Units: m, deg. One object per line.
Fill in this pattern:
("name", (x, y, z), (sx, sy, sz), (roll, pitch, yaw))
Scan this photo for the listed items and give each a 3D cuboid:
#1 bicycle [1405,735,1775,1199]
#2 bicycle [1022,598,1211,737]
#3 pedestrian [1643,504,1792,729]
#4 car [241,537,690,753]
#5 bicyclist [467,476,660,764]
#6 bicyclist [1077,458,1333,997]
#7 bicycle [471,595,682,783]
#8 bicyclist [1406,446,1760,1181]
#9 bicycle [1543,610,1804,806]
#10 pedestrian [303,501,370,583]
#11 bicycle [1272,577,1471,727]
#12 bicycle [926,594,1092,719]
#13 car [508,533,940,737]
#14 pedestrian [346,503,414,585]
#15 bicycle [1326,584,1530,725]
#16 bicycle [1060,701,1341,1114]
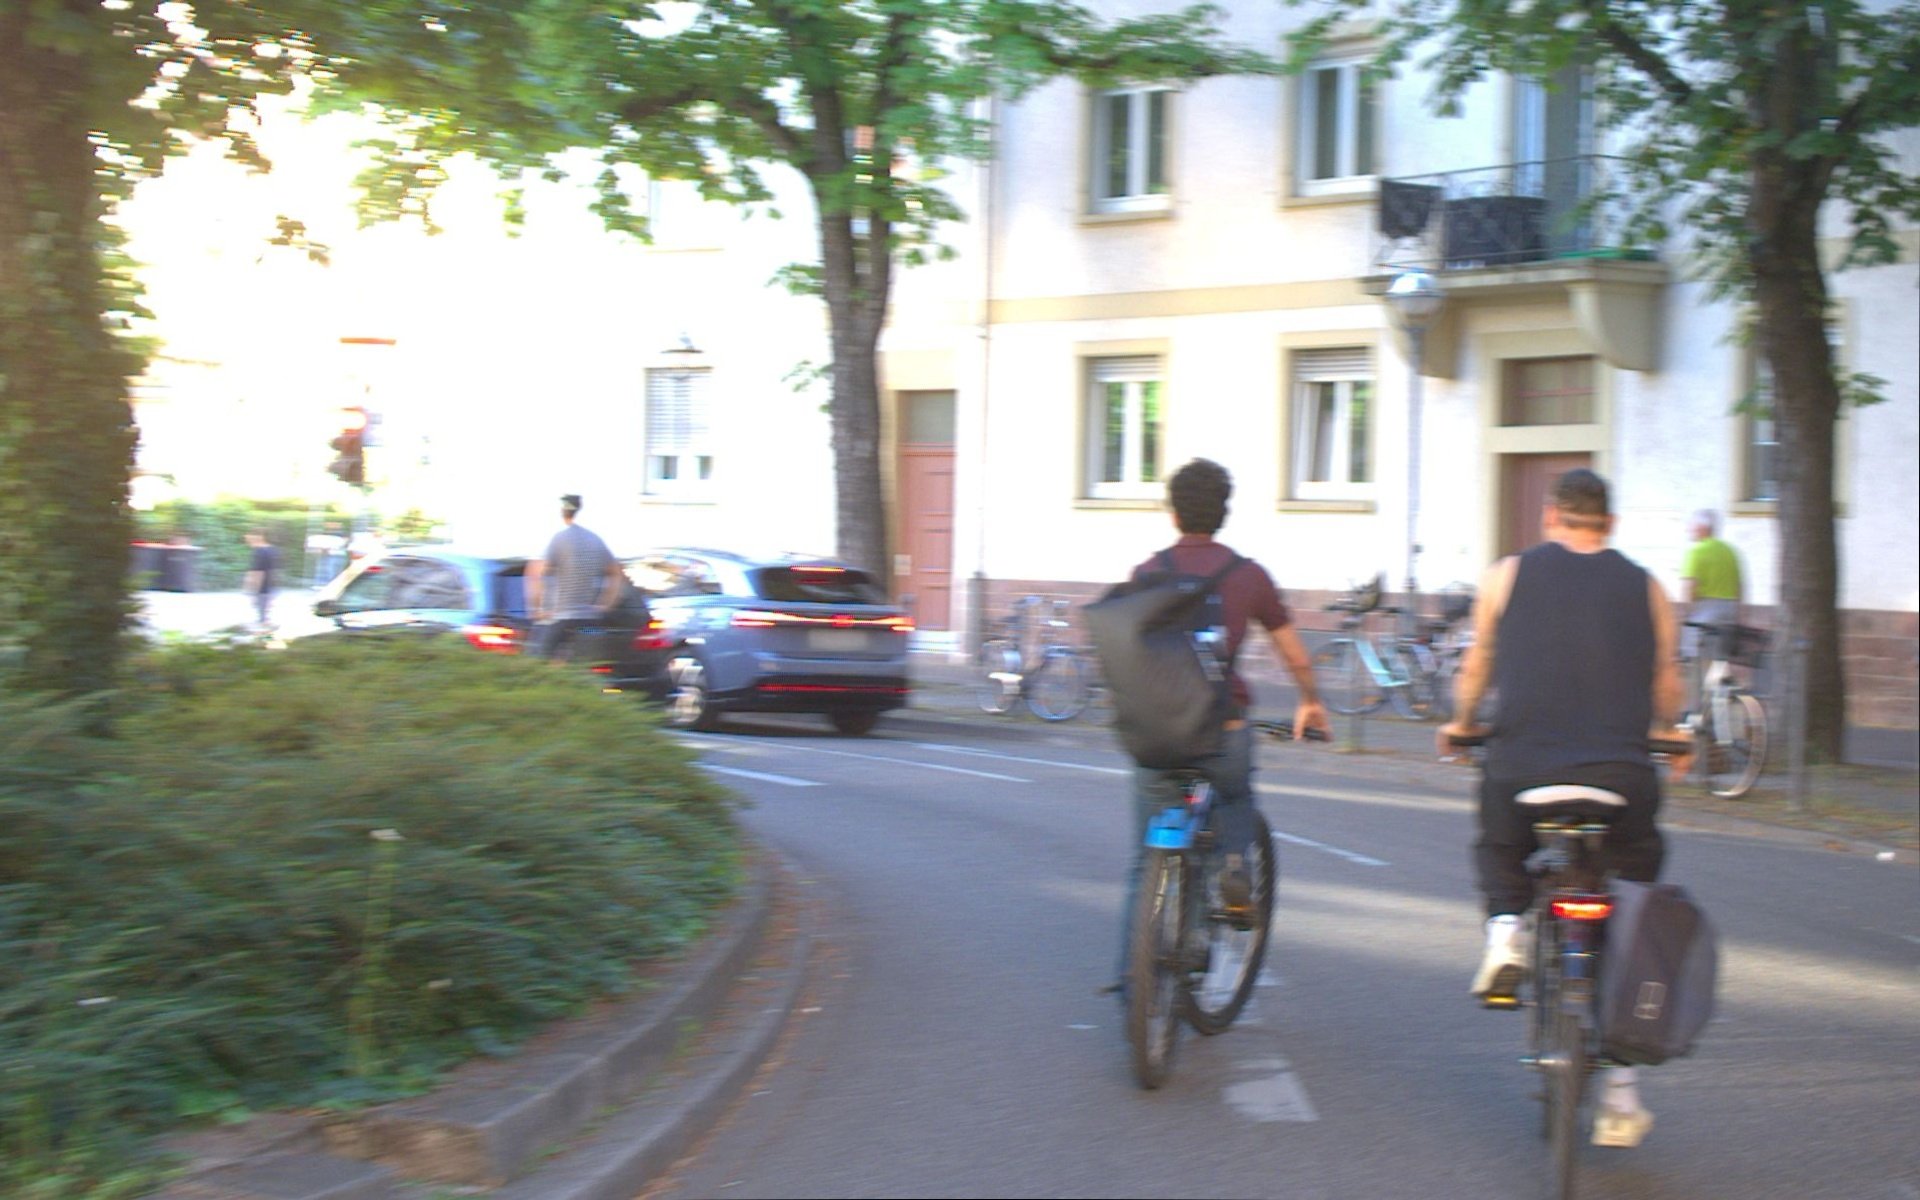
("bicycle", (1.498, 0.908, 8.492), (0.738, 1.008, 2.061), (2, 1, 7))
("bicycle", (1.283, 0.541, 28.630), (0.616, 1.054, 1.929), (-1, 2, -31))
("pedestrian", (6.154, 0.120, 27.935), (0.994, 1.789, 0.659), (-1, 2, -32))
("car", (-3.966, 0.290, 27.109), (1.813, 1.538, 3.958), (-2, 2, -37))
("bicyclist", (-2.690, 0.118, 23.268), (0.850, 1.892, 1.140), (0, 1, -33))
("bicyclist", (0.745, 0.351, 10.220), (0.672, 1.509, 1.069), (1, 0, 8))
("bicycle", (-2.609, 0.577, 23.186), (0.597, 1.158, 2.042), (1, 1, -31))
("bicyclist", (1.495, 0.483, 8.394), (0.752, 1.676, 0.913), (1, 1, 7))
("bicycle", (4.543, 0.662, 22.039), (0.616, 1.109, 1.993), (-3, 2, -22))
("pedestrian", (-15.328, -1.428, 84.501), (1.158, 1.955, 1.387), (2, 1, 11))
("bicycle", (3.464, 0.420, 29.156), (0.494, 1.168, 2.117), (-3, 3, -29))
("bicycle", (0.404, 0.474, 29.969), (0.520, 0.995, 2.192), (1, 1, -25))
("car", (-2.101, 0.256, 29.523), (1.892, 1.572, 4.000), (1, 1, -35))
("pedestrian", (-14.140, -1.364, 83.861), (1.158, 1.955, 1.387), (2, 1, 11))
("bicycle", (3.986, 0.445, 29.447), (0.582, 1.110, 2.117), (0, 2, -29))
("bicycle", (0.764, 0.864, 10.372), (0.674, 1.050, 2.060), (0, 0, 9))
